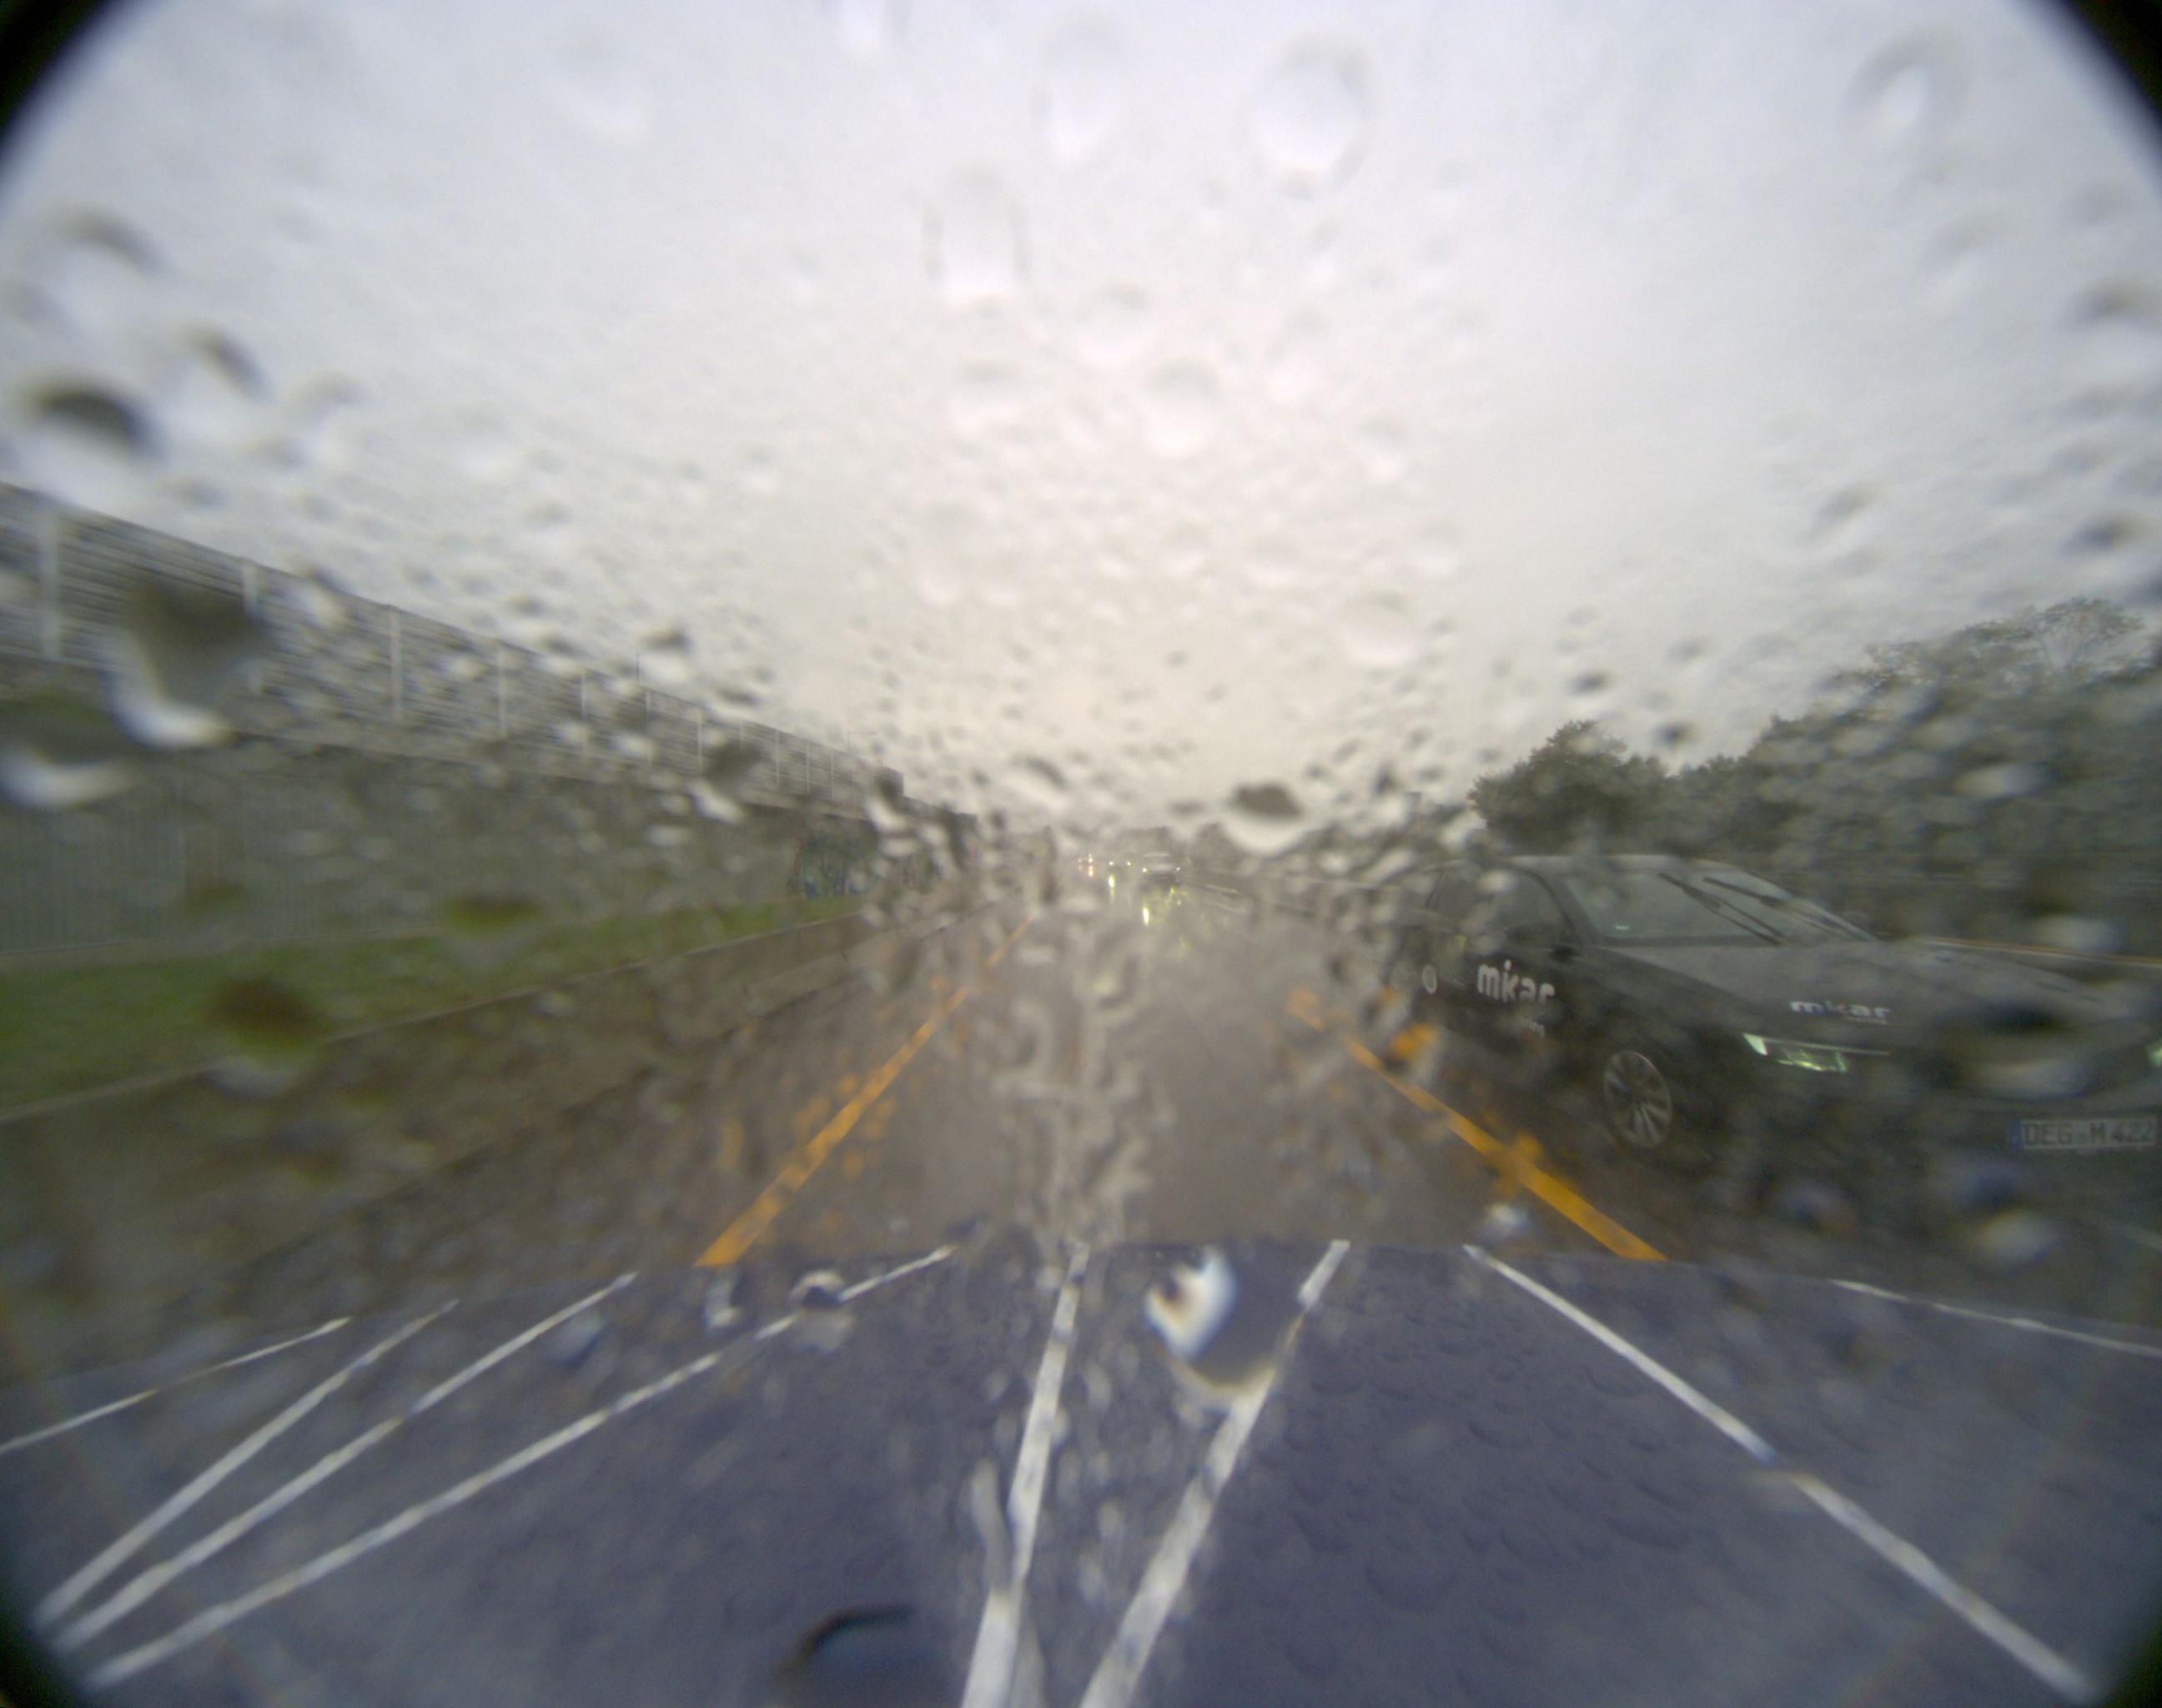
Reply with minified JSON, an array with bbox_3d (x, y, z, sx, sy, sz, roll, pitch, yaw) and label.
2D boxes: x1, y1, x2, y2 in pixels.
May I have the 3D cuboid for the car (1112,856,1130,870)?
[{"bbox_3d":[3.473,0.783,66.302,1.335,1.105,3.198,1,0,-1],"label":"car"}]

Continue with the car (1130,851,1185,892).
[{"bbox_3d":[3.501,0.767,35.389,1.972,1.670,3.998,-2,1,-2],"label":"car"}]

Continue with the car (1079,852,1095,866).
[{"bbox_3d":[0.853,0.664,107.161,1.999,1.762,3.998,-2,1,-2],"label":"car"}]

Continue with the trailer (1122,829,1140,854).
[{"bbox_3d":[9.371,-2.421,143.232,2.554,4.563,12.006,-2,1,0],"label":"trailer"}]

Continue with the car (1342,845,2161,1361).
[{"bbox_3d":[3.404,0.733,4.662,1.944,1.518,4.795,-1,0,0],"label":"car"}]

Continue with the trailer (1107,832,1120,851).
[{"bbox_3d":[8.183,-3.201,191.813,2.491,4.418,11.191,-2,1,-1],"label":"trailer"}]

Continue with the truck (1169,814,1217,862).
[{"bbox_3d":[10.307,-1.499,70.885,3.012,4.142,9.828,0,1,0],"label":"truck"}]
